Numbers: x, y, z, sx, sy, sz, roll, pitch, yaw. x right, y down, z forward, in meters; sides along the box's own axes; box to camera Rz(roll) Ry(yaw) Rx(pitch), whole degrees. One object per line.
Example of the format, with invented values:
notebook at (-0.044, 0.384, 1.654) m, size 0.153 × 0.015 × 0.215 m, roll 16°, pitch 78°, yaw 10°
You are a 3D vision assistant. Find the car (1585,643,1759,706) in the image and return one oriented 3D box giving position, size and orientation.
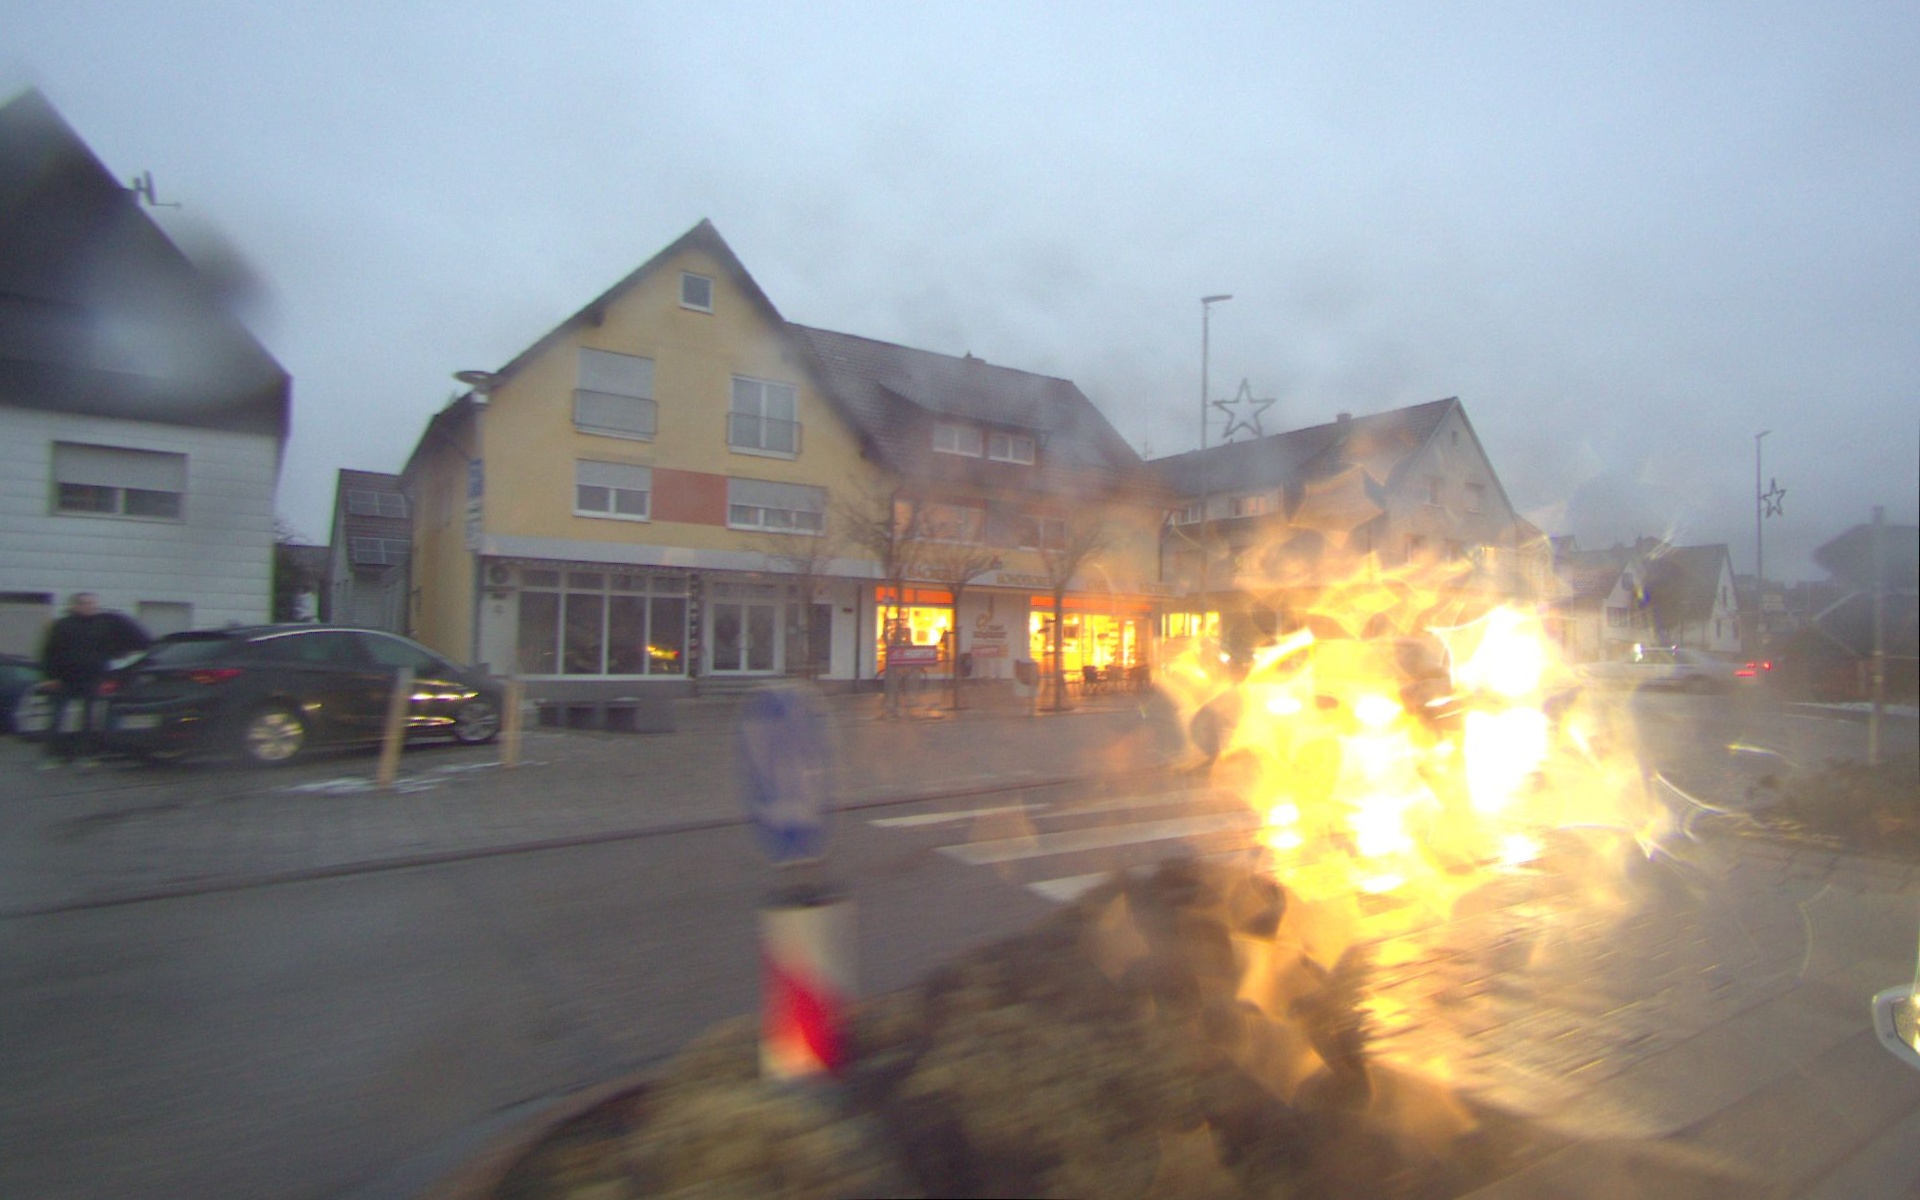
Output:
car at (21.388, 2.185, 30.289) m, size 1.690 × 1.684 × 4.021 m, roll 2°, pitch -2°, yaw -41°

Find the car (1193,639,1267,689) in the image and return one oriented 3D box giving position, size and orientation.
car at (10.398, 2.427, 38.970) m, size 1.914 × 1.614 × 4.634 m, roll 1°, pitch 0°, yaw 4°

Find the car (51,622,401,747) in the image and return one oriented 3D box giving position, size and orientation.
car at (-11.042, 1.232, 15.453) m, size 1.733 × 1.652 × 3.996 m, roll -3°, pitch -4°, yaw 27°

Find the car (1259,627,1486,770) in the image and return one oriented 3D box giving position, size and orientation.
car at (4.971, 1.068, 11.890) m, size 1.487 × 1.430 × 3.349 m, roll -1°, pitch -3°, yaw 41°

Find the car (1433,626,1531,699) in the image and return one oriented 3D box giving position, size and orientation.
car at (11.646, 1.422, 22.604) m, size 1.683 × 1.440 × 4.012 m, roll 1°, pitch -3°, yaw 24°

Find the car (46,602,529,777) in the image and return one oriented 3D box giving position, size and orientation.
car at (-7.134, 0.892, 11.265) m, size 1.876 × 1.551 × 4.181 m, roll 0°, pitch -2°, yaw 19°

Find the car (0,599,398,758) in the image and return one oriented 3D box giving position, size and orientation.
car at (-9.604, 0.959, 12.901) m, size 1.805 × 1.692 × 3.896 m, roll -3°, pitch -3°, yaw 23°

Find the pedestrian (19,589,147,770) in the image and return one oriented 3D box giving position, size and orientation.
pedestrian at (-8.897, 0.791, 10.197) m, size 0.713 × 1.734 × 0.838 m, roll -3°, pitch -3°, yaw 37°

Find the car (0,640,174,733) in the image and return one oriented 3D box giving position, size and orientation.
car at (-17.795, 1.605, 19.036) m, size 4.376 × 1.520 × 1.899 m, roll 1°, pitch 2°, yaw -33°
